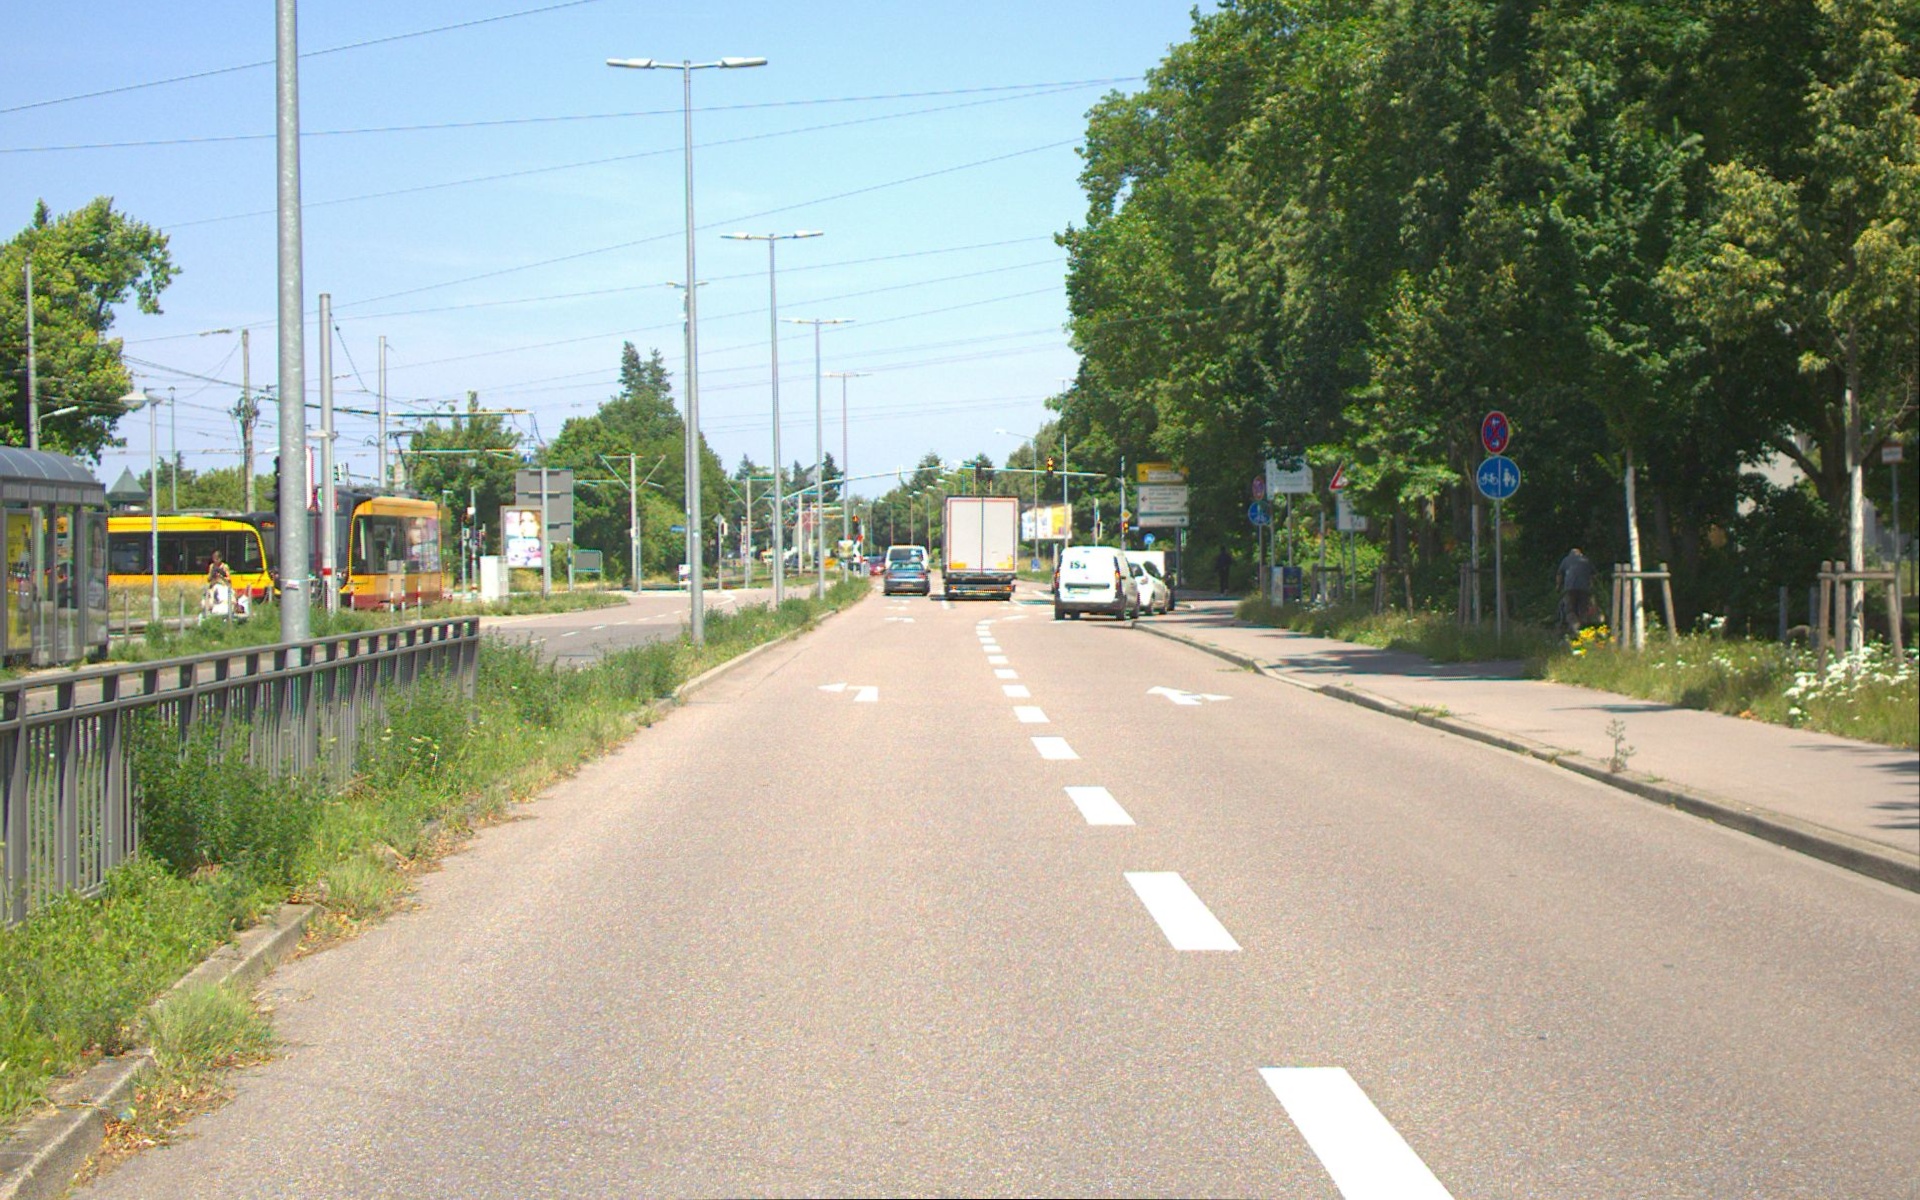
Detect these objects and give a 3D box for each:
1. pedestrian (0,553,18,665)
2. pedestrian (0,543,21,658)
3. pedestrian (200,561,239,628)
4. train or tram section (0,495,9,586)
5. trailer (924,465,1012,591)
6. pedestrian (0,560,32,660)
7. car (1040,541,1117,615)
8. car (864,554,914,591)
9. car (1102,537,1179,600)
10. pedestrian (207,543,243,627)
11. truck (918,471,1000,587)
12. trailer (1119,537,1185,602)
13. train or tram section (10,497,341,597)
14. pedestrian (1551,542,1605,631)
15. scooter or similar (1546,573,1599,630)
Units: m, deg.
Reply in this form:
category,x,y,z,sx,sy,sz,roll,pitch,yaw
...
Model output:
category,x,y,z,sx,sy,sz,roll,pitch,yaw
pedestrian,-13.745,0.109,47.982,0.930,1.541,0.985,1,1,-3
pedestrian,-13.359,-0.010,46.812,0.874,1.541,1.026,1,1,-3
pedestrian,-13.474,-0.103,62.564,0.580,1.185,0.536,1,1,-1
train or tram section,-43.112,-2.375,130.394,13.222,3.454,3.046,1,1,1
trailer,0.248,-2.629,125.953,2.827,4.406,8.750,1,1,-2
pedestrian,-12.624,0.122,45.091,0.701,1.279,0.840,1,1,-3
car,2.881,-0.554,84.419,1.709,1.741,4.427,1,1,0
car,-2.837,-1.114,136.927,1.892,1.367,4.430,2,1,-1
car,4.910,-0.870,93.890,1.699,1.648,4.399,1,1,-2
pedestrian,-13.674,-0.281,63.984,0.534,1.560,0.582,1,1,-2
truck,-0.086,-2.809,134.474,2.827,4.329,8.285,2,2,-2
trailer,5.028,-0.812,90.254,1.468,1.663,2.856,1,1,-2
train or tram section,-29.141,-2.005,127.453,12.726,3.454,3.042,1,1,25
pedestrian,9.896,-0.221,55.065,0.708,1.393,0.763,1,1,1
scooter or similar,9.898,0.021,55.601,0.708,0.890,0.763,1,1,1
